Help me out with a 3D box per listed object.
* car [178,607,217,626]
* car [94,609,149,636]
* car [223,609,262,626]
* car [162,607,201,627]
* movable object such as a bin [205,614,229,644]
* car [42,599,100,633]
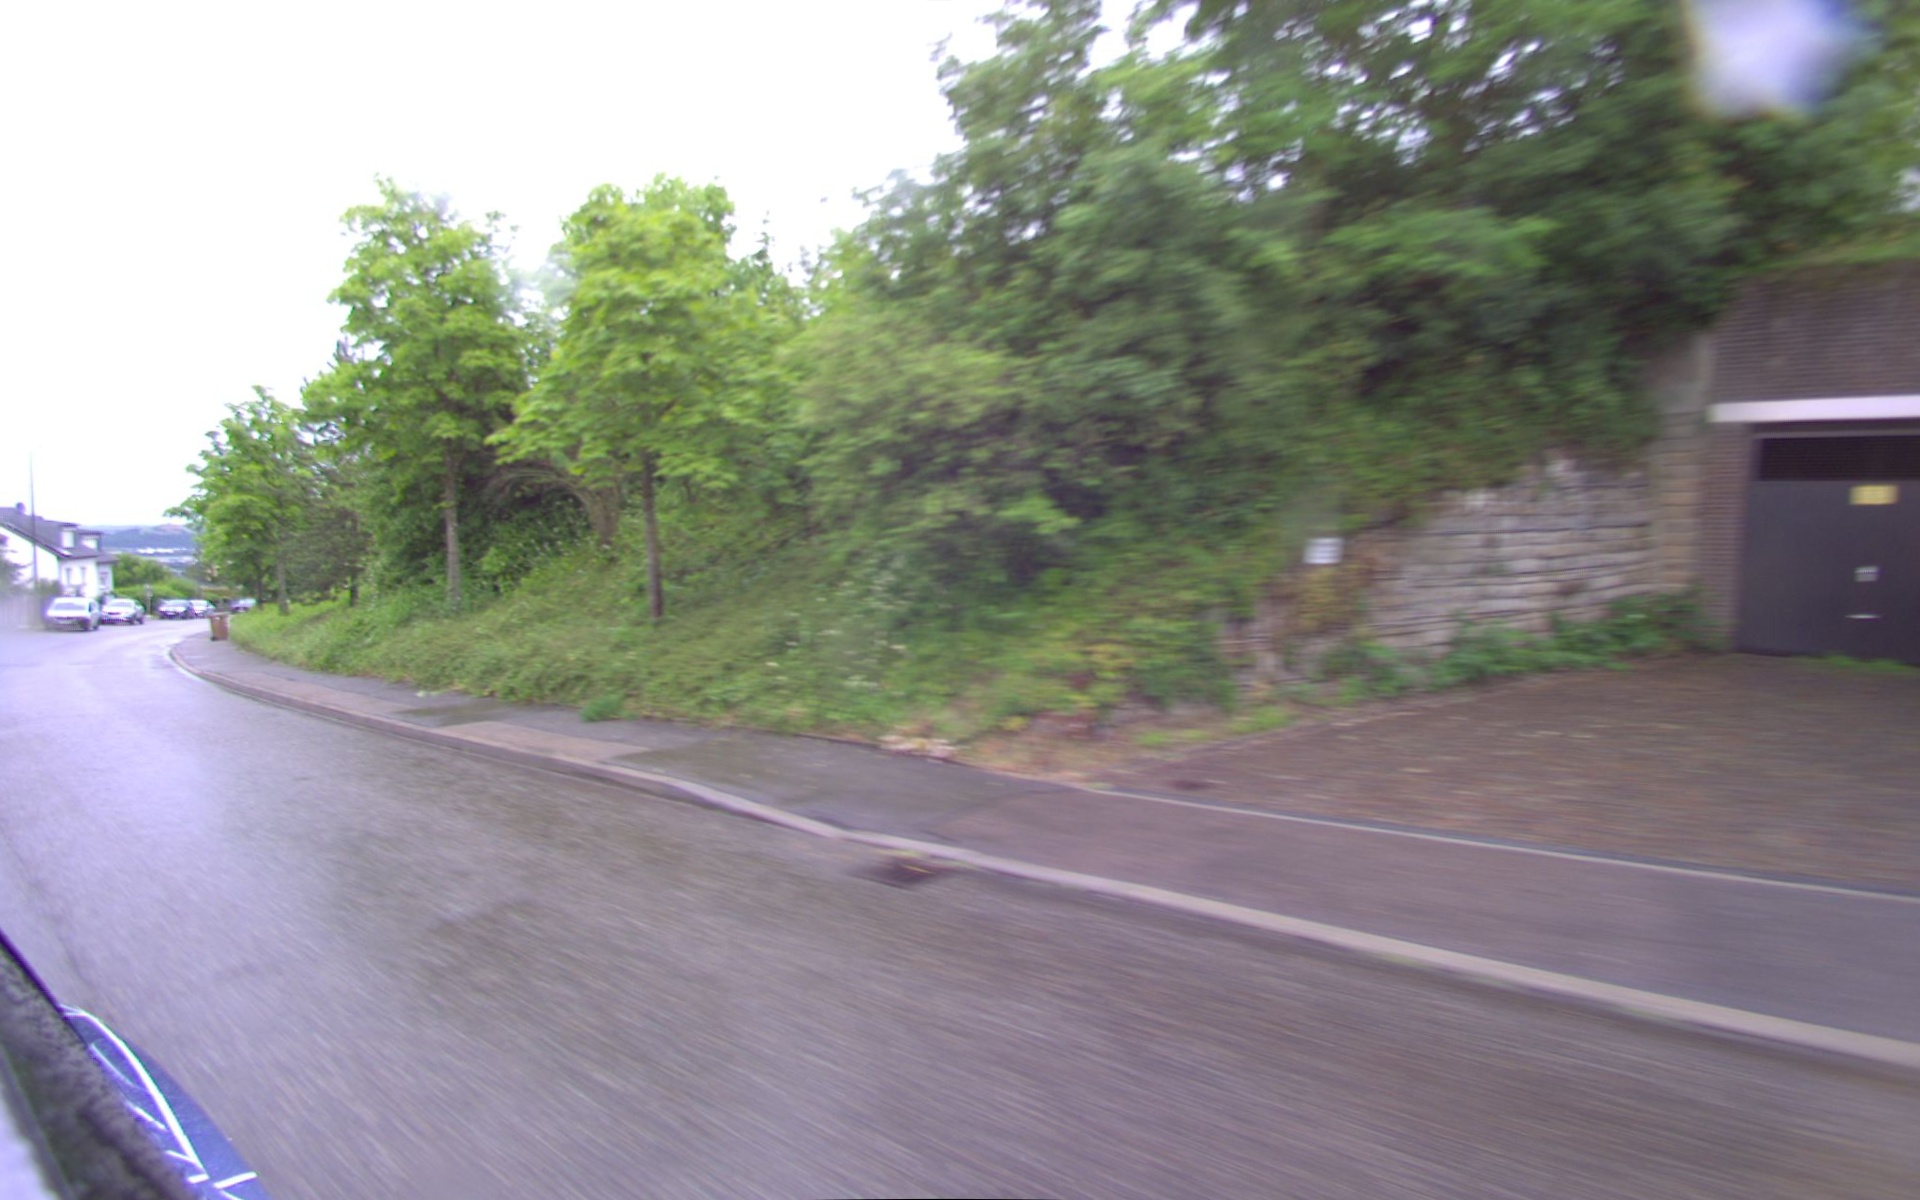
[{"bbox_3d":[-64.218,1.369,85.299,1.743,1.478,4.248,3,-1,-25],"label":"car"},{"bbox_3d":[-55.547,1.492,67.102,1.779,1.639,4.302,3,-1,-26],"label":"car"},{"bbox_3d":[-70.237,1.679,99.163,1.831,1.538,5.080,3,-1,-20],"label":"car"},{"bbox_3d":[-61.945,1.347,80.578,1.636,1.478,3.776,3,-1,-26],"label":"car"},{"bbox_3d":[-29.323,1.149,39.945,0.685,1.099,0.805,-3,-3,-32],"label":"movable object such as a bin"},{"bbox_3d":[-48.776,0.849,55.614,1.754,1.817,4.720,1,0,-34],"label":"car"}]
